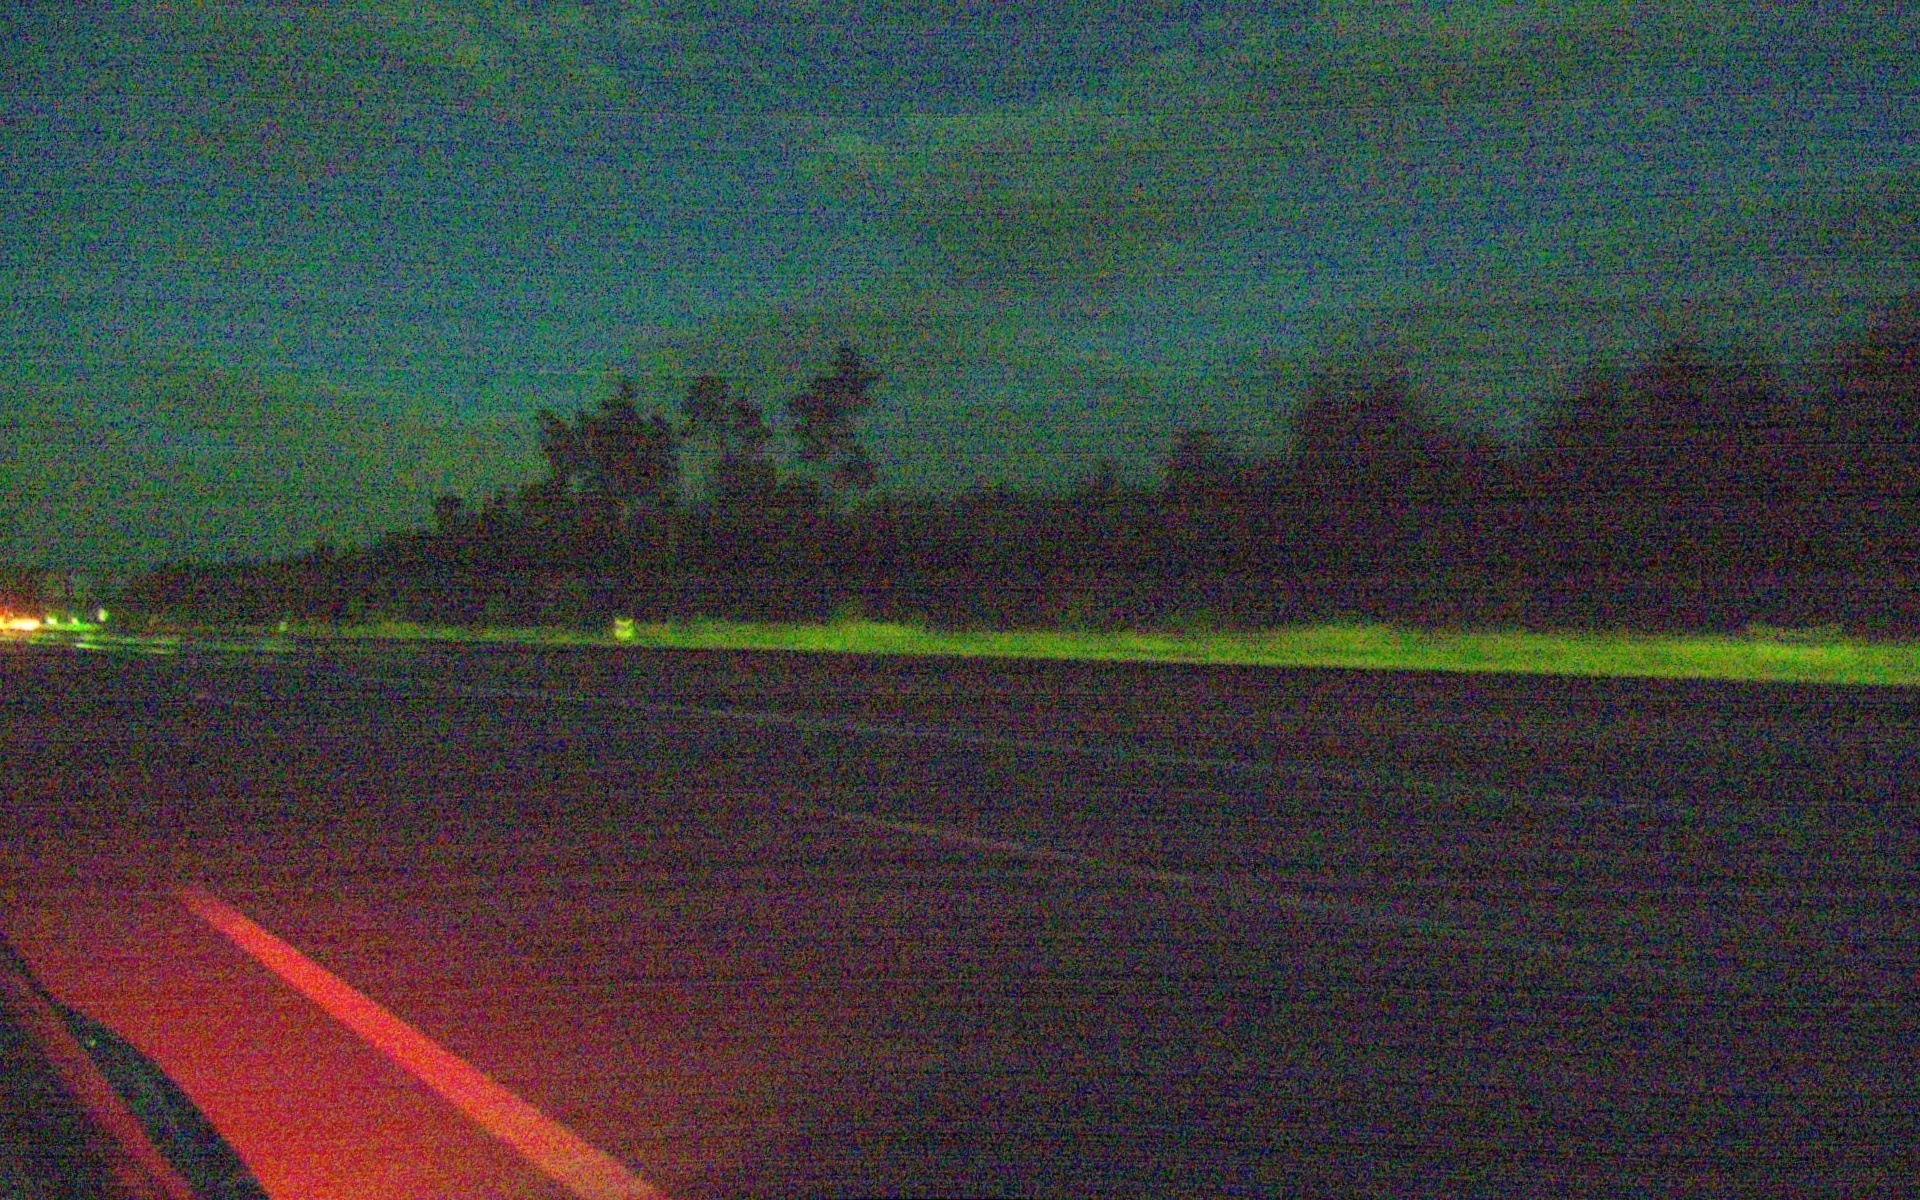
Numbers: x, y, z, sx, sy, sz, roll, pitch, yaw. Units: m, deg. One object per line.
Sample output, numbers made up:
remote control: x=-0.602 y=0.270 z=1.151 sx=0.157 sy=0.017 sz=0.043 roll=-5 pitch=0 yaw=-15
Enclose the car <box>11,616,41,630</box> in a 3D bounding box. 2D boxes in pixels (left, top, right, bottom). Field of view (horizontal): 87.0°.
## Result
car: x=-110.122 y=2.724 z=119.354 sx=3.997 sy=1.579 sz=2.127 roll=-1 pitch=0 yaw=40
